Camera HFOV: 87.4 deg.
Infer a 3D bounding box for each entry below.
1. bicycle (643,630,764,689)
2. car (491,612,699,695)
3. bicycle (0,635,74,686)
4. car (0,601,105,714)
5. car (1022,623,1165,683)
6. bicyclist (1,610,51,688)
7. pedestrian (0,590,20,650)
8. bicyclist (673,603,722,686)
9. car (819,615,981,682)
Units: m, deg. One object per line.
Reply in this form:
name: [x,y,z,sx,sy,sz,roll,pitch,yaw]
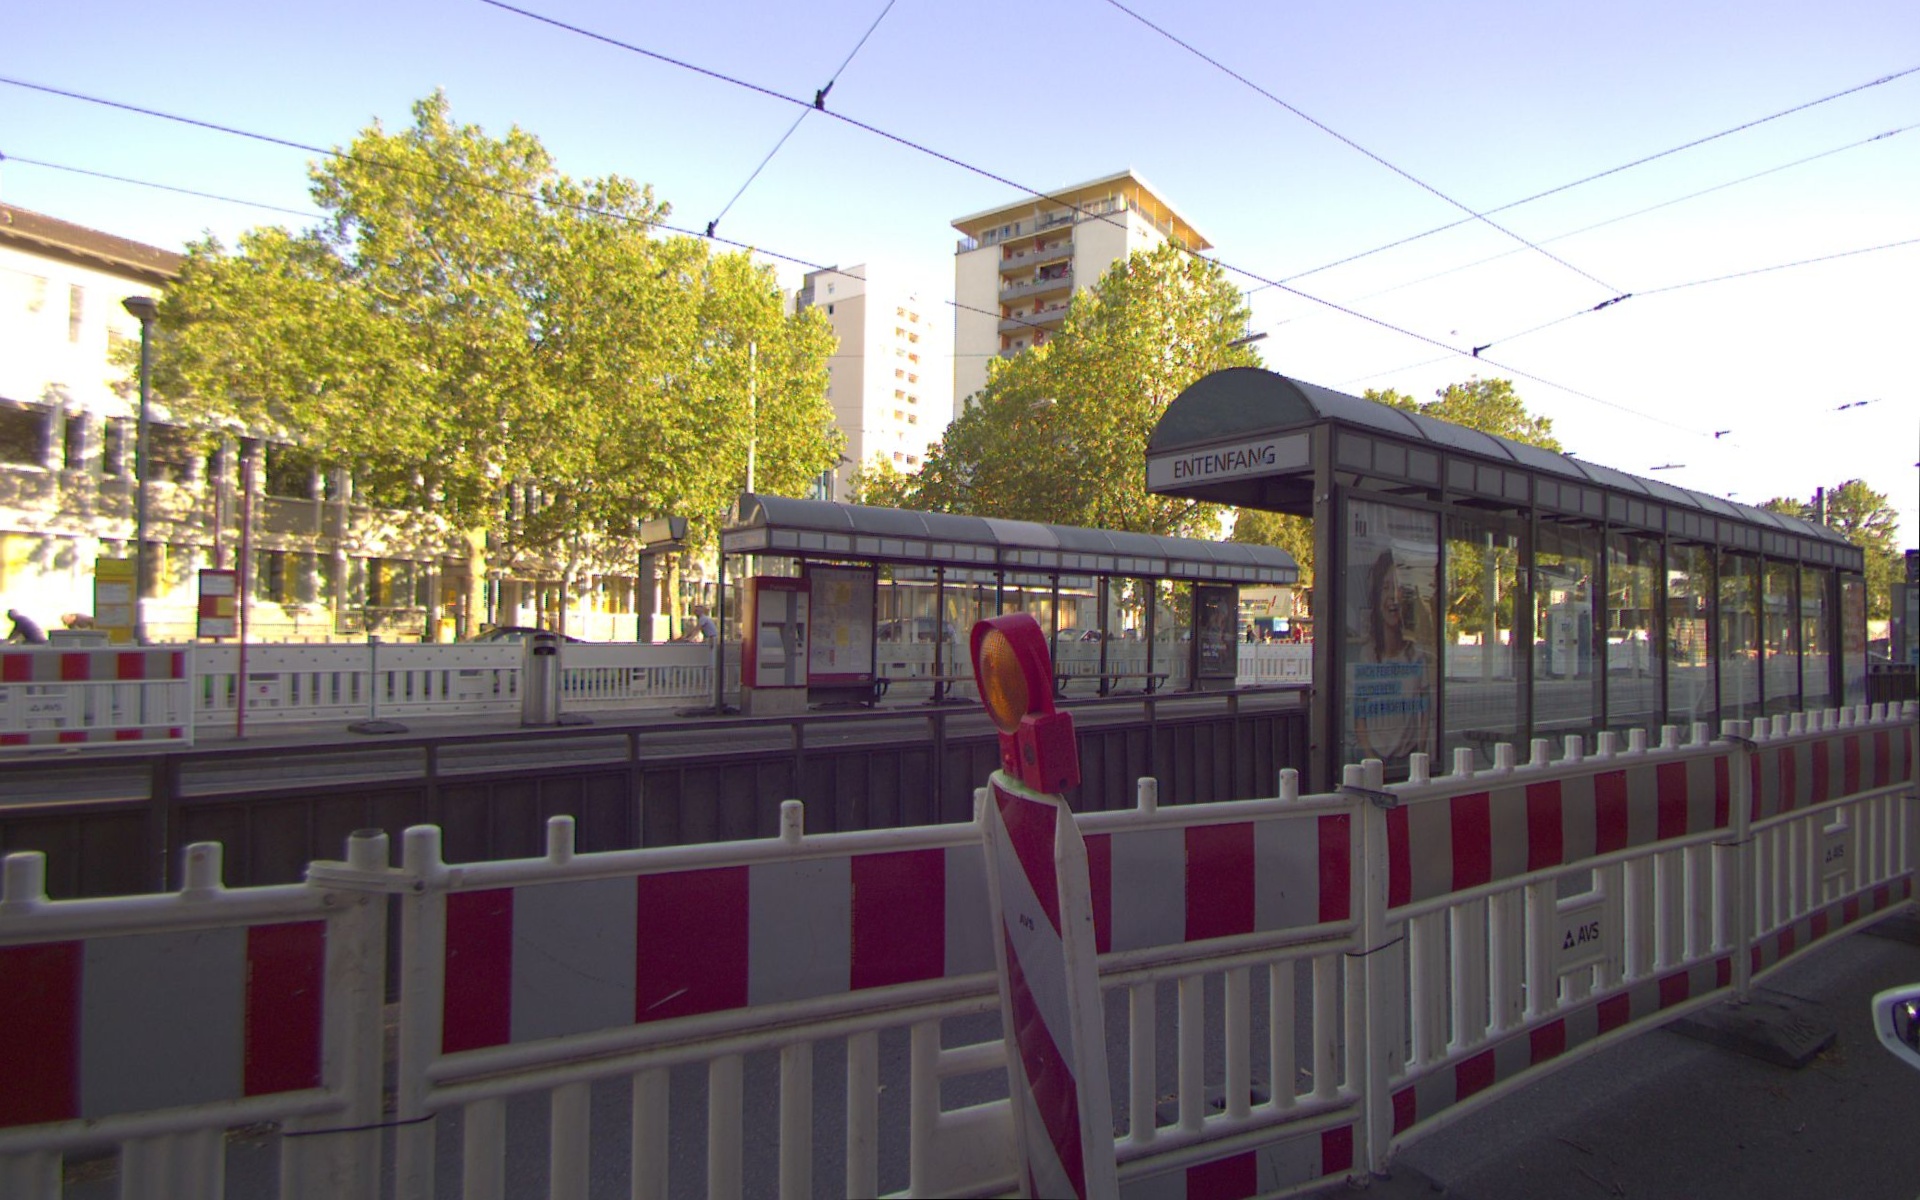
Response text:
bicycle: [-5.547,1.269,21.849,2.456,1.223,0.685,2,-2,-36]
car: [-8.017,1.148,22.147,3.958,1.683,1.982,2,-2,-33]
bicycle: [-20.132,1.290,21.526,1.603,1.079,0.546,2,-2,-31]
car: [-16.055,0.840,15.165,4.511,1.683,1.982,2,-2,-33]
car: [4.028,1.572,30.197,3.958,1.683,1.982,2,-2,-33]
bicyclist: [-20.059,1.050,21.588,0.636,1.635,0.547,1,-1,-30]
pedestrian: [-23.718,0.502,24.832,0.577,1.474,0.583,0,-2,39]
bicyclist: [-5.683,0.962,21.744,0.826,1.751,0.728,2,-2,-35]
car: [-1.587,1.296,27.149,3.959,1.683,1.901,2,-2,-34]
